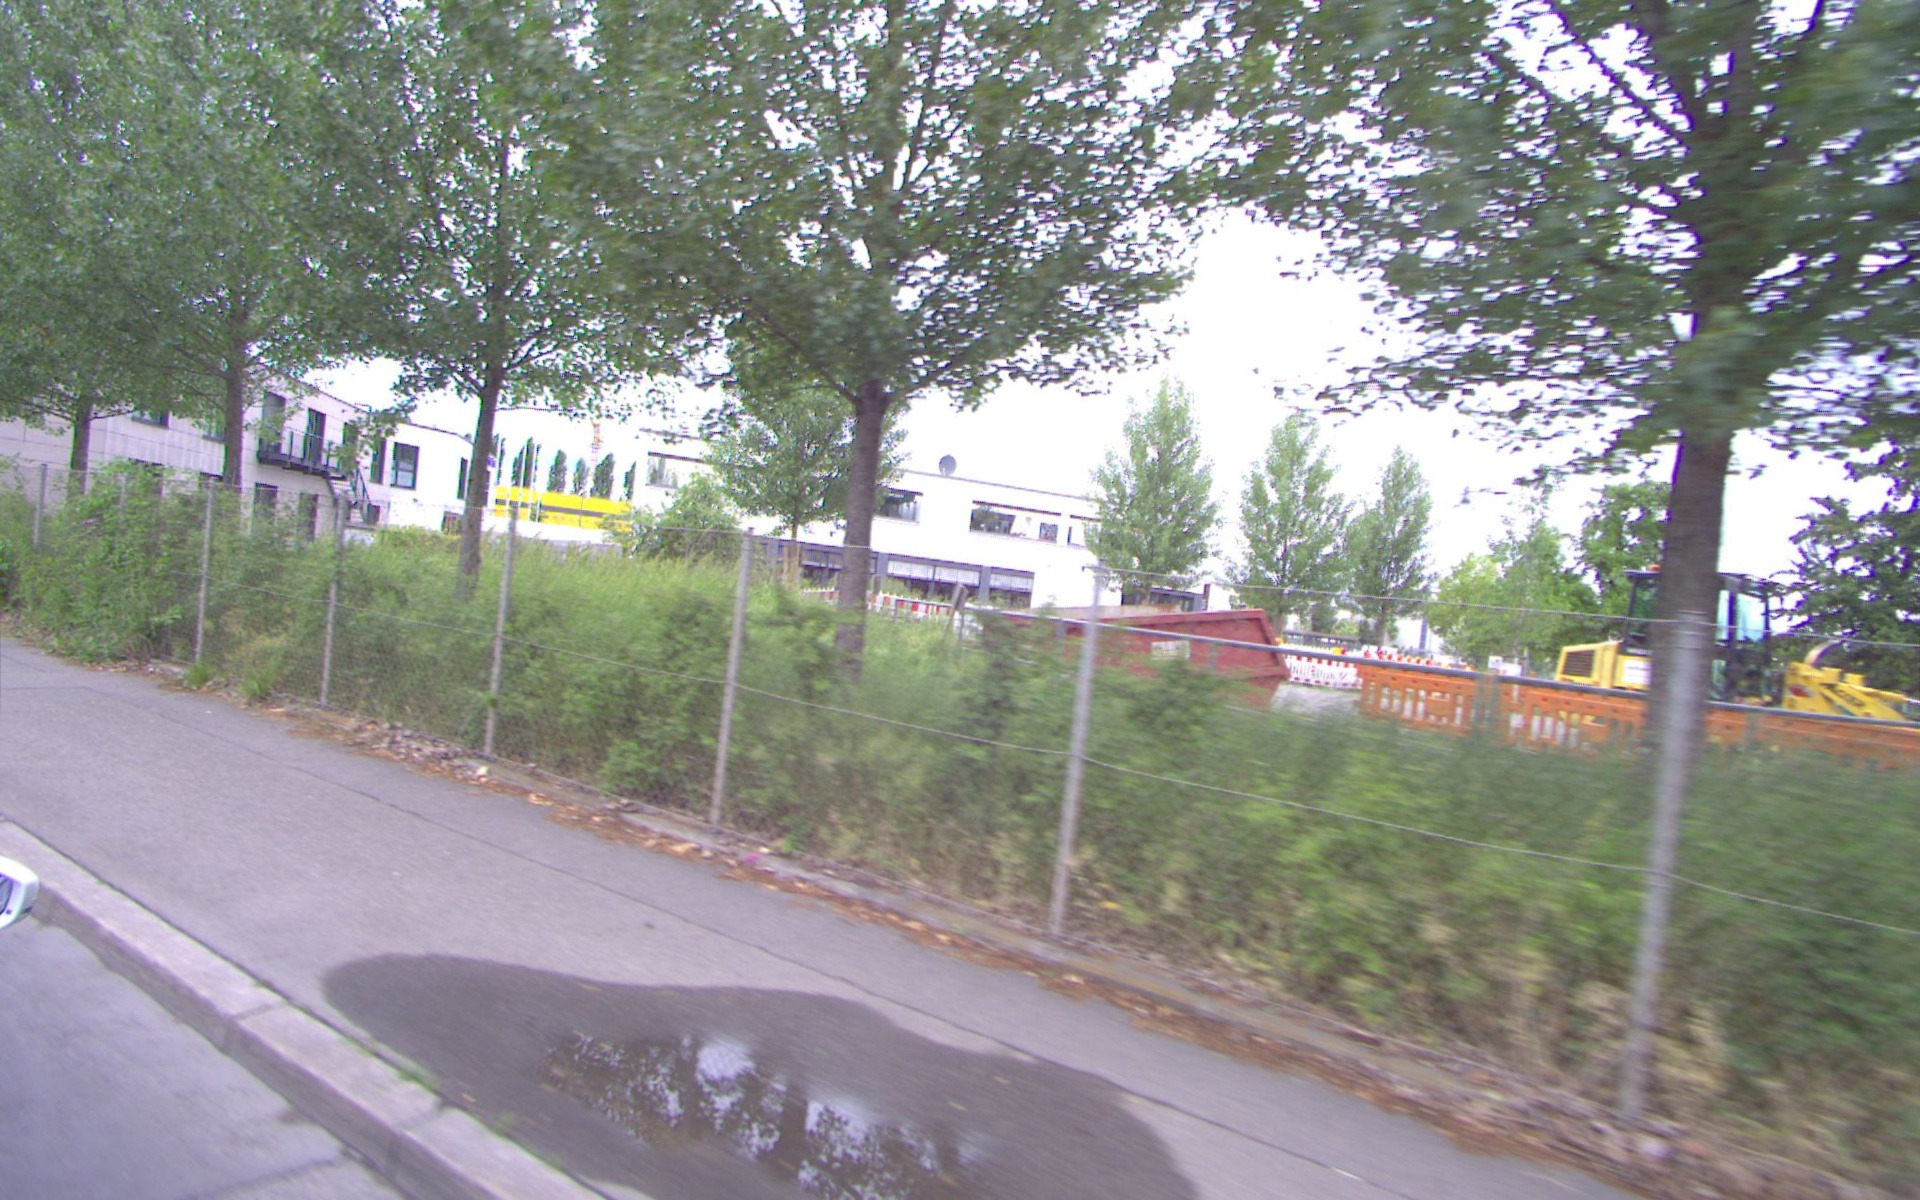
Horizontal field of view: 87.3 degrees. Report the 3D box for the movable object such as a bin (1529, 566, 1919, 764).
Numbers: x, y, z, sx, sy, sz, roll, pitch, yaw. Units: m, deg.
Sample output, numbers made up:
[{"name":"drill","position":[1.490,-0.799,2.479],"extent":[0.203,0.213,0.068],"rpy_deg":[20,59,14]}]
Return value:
[{"name":"movable object such as a bin","position":[9.752,0.718,12.402],"extent":[1.980,2.038,4.259],"rpy_deg":[5,-2,-34]}]
